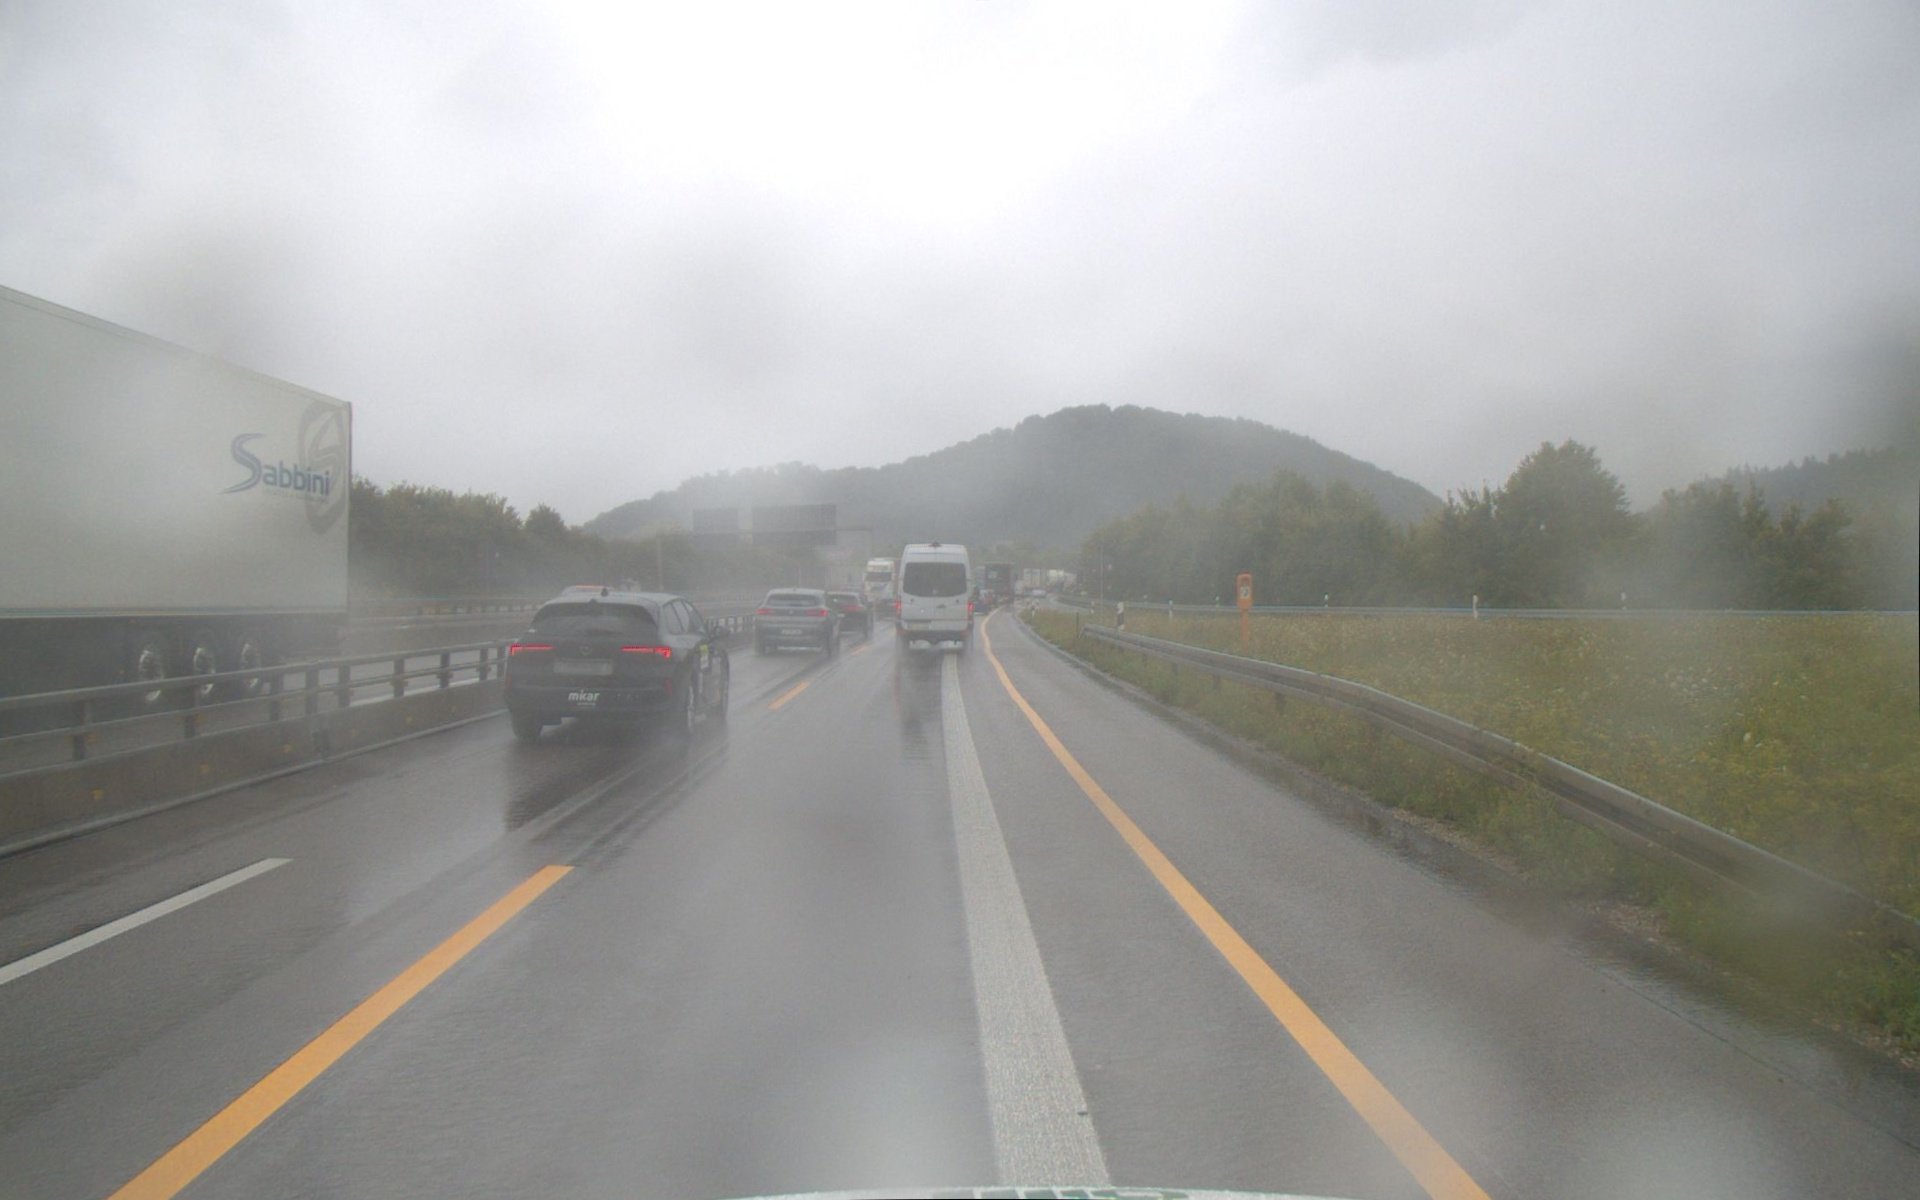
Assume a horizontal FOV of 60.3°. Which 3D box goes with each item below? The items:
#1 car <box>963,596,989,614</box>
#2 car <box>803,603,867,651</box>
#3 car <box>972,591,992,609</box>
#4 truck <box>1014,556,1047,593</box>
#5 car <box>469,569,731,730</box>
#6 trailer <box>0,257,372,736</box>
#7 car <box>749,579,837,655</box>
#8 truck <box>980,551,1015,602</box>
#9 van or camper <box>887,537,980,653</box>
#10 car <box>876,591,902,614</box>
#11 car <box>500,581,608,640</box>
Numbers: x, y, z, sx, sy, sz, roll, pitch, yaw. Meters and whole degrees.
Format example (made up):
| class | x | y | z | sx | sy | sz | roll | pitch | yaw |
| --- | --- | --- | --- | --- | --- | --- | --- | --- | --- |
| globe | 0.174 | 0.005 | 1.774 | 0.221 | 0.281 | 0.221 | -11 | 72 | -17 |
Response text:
| class | x | y | z | sx | sy | sz | roll | pitch | yaw |
| --- | --- | --- | --- | --- | --- | --- | --- | --- | --- |
| car | 1.002 | 0.277 | 103.953 | 1.357 | 1.097 | 3.120 | 1 | 0 | -4 |
| car | -4.140 | 0.875 | 55.362 | 1.814 | 1.527 | 4.000 | 1 | 0 | 0 |
| car | 1.671 | -0.004 | 124.587 | 1.356 | 1.278 | 3.121 | 1 | 0 | -2 |
| truck | 9.978 | -3.588 | 233.090 | 3.845 | 4.868 | 9.913 | 2 | 0 | 6 |
| car | -3.642 | 0.452 | 17.618 | 1.900 | 1.452 | 4.758 | 1 | 0 | -2 |
| trailer | -9.821 | -0.951 | 17.741 | 2.848 | 4.161 | 12.218 | 0 | 1 | -1 |
| car | -3.906 | 0.381 | 39.299 | 1.830 | 1.688 | 3.986 | 1 | 0 | -2 |
| truck | 3.833 | -2.326 | 166.803 | 3.251 | 4.868 | 9.909 | 2 | 0 | 2 |
| van or camper | -0.741 | -0.126 | 42.290 | 2.097 | 2.769 | 4.644 | 1 | 0 | -4 |
| car | -3.491 | 0.134 | 81.510 | 1.237 | 1.097 | 3.253 | 1 | 0 | -1 |
| car | -11.117 | 0.274 | 45.566 | 1.953 | 1.532 | 4.295 | 1 | 0 | -1 |
